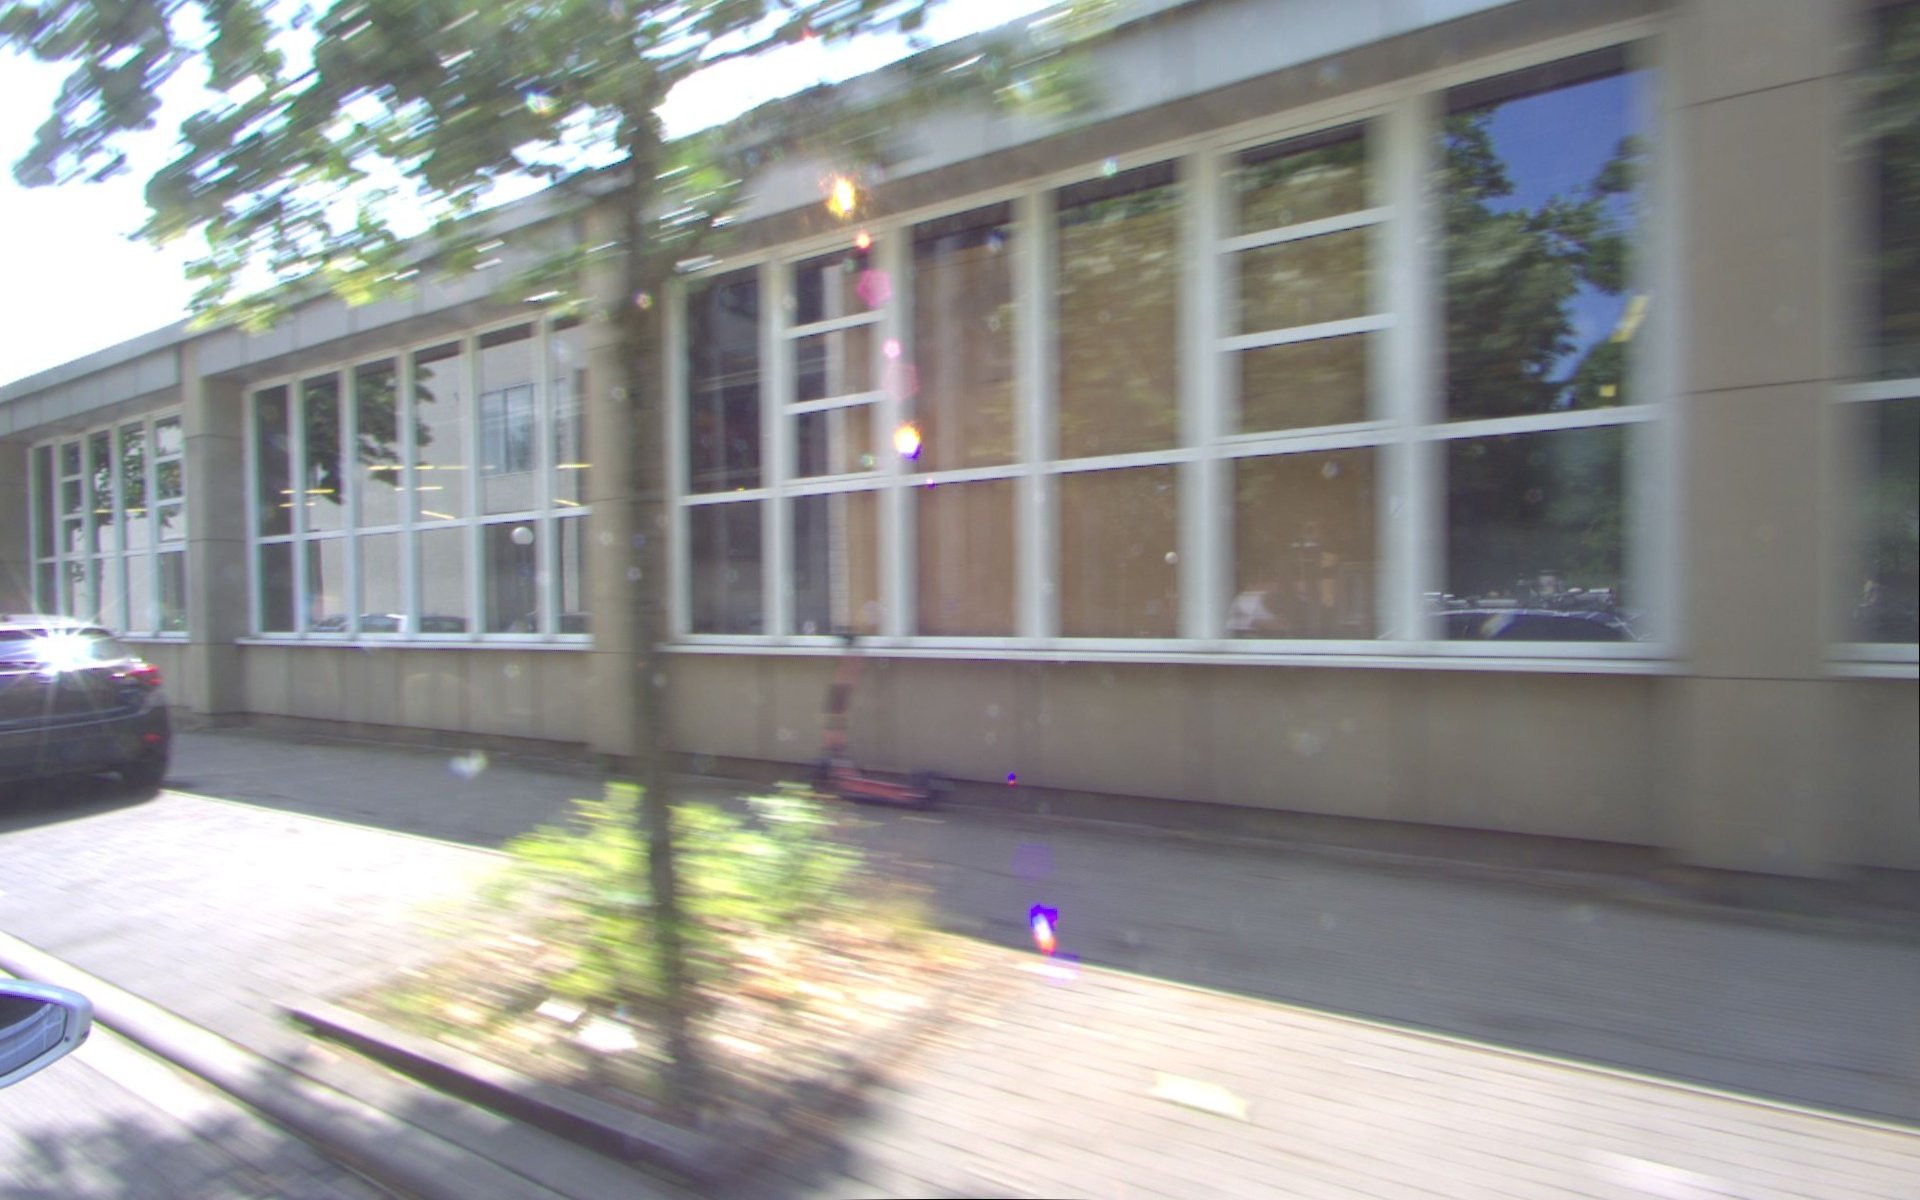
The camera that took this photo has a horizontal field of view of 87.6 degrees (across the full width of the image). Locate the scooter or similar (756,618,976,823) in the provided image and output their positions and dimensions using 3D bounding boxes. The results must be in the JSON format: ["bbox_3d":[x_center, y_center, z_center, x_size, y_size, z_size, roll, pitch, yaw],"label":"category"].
[{"bbox_3d":[-0.660,0.765,6.841,1.464,1.267,0.509,-1,2,32],"label":"scooter or similar"}]

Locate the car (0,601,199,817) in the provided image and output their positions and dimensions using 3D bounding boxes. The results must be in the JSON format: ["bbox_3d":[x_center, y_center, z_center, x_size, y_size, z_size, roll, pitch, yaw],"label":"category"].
[{"bbox_3d":[-8.503,0.806,8.498,4.397,1.496,1.776,-1,1,32],"label":"car"}]
